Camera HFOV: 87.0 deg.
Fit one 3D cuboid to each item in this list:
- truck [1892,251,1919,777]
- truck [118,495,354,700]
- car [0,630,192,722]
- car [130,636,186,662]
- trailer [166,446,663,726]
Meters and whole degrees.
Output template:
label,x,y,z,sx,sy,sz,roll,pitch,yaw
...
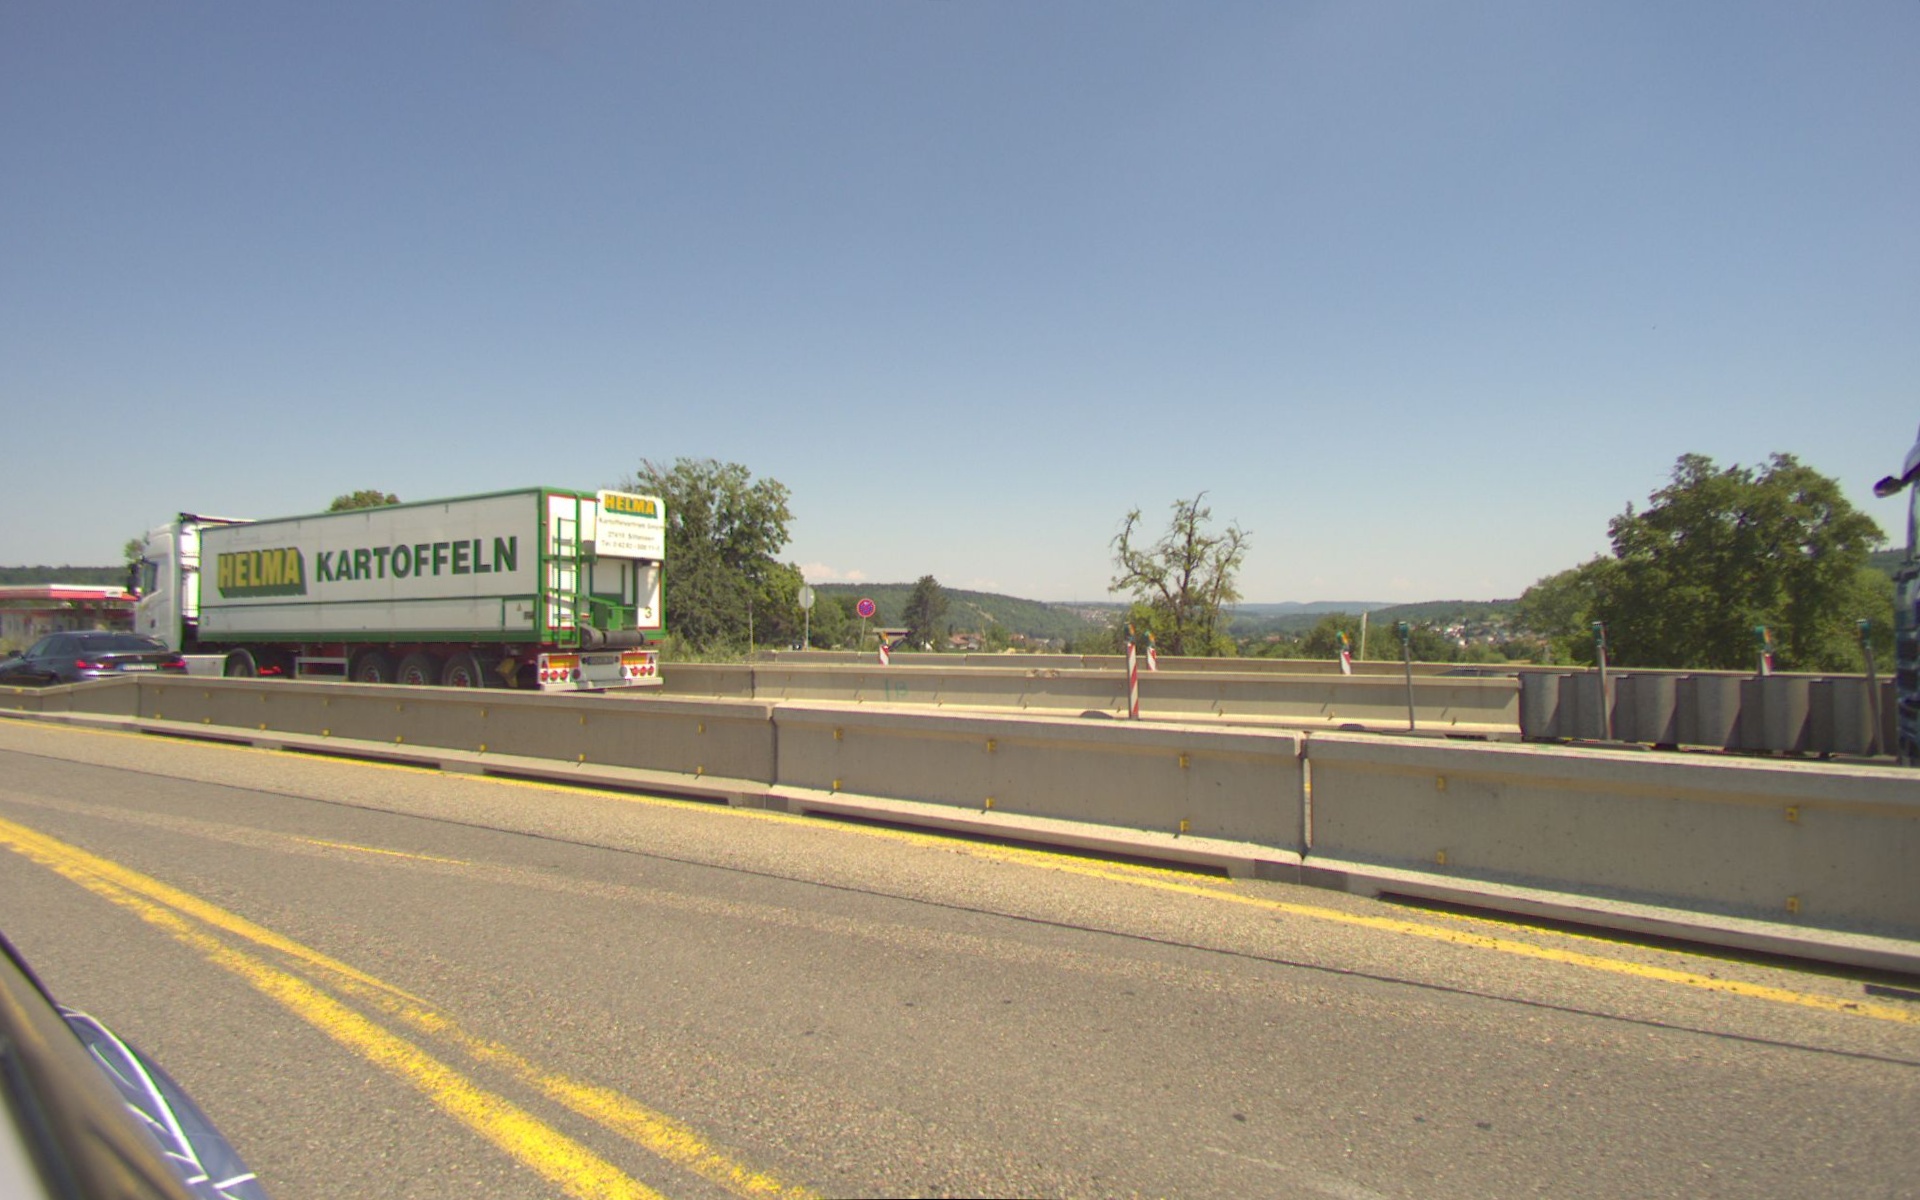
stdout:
label,x,y,z,sx,sy,sz,roll,pitch,yaw
truck,9.780,-0.661,6.308,5.537,4.112,2.520,-1,-1,38
truck,-16.005,-0.005,22.336,5.058,4.038,2.430,-1,-1,31
car,-16.310,1.326,18.747,4.519,1.489,1.742,-1,-1,30
car,-45.608,2.790,57.556,3.395,1.386,1.441,-1,-1,32
trailer,-10.978,-0.096,19.339,12.451,4.183,2.336,-1,-1,31
